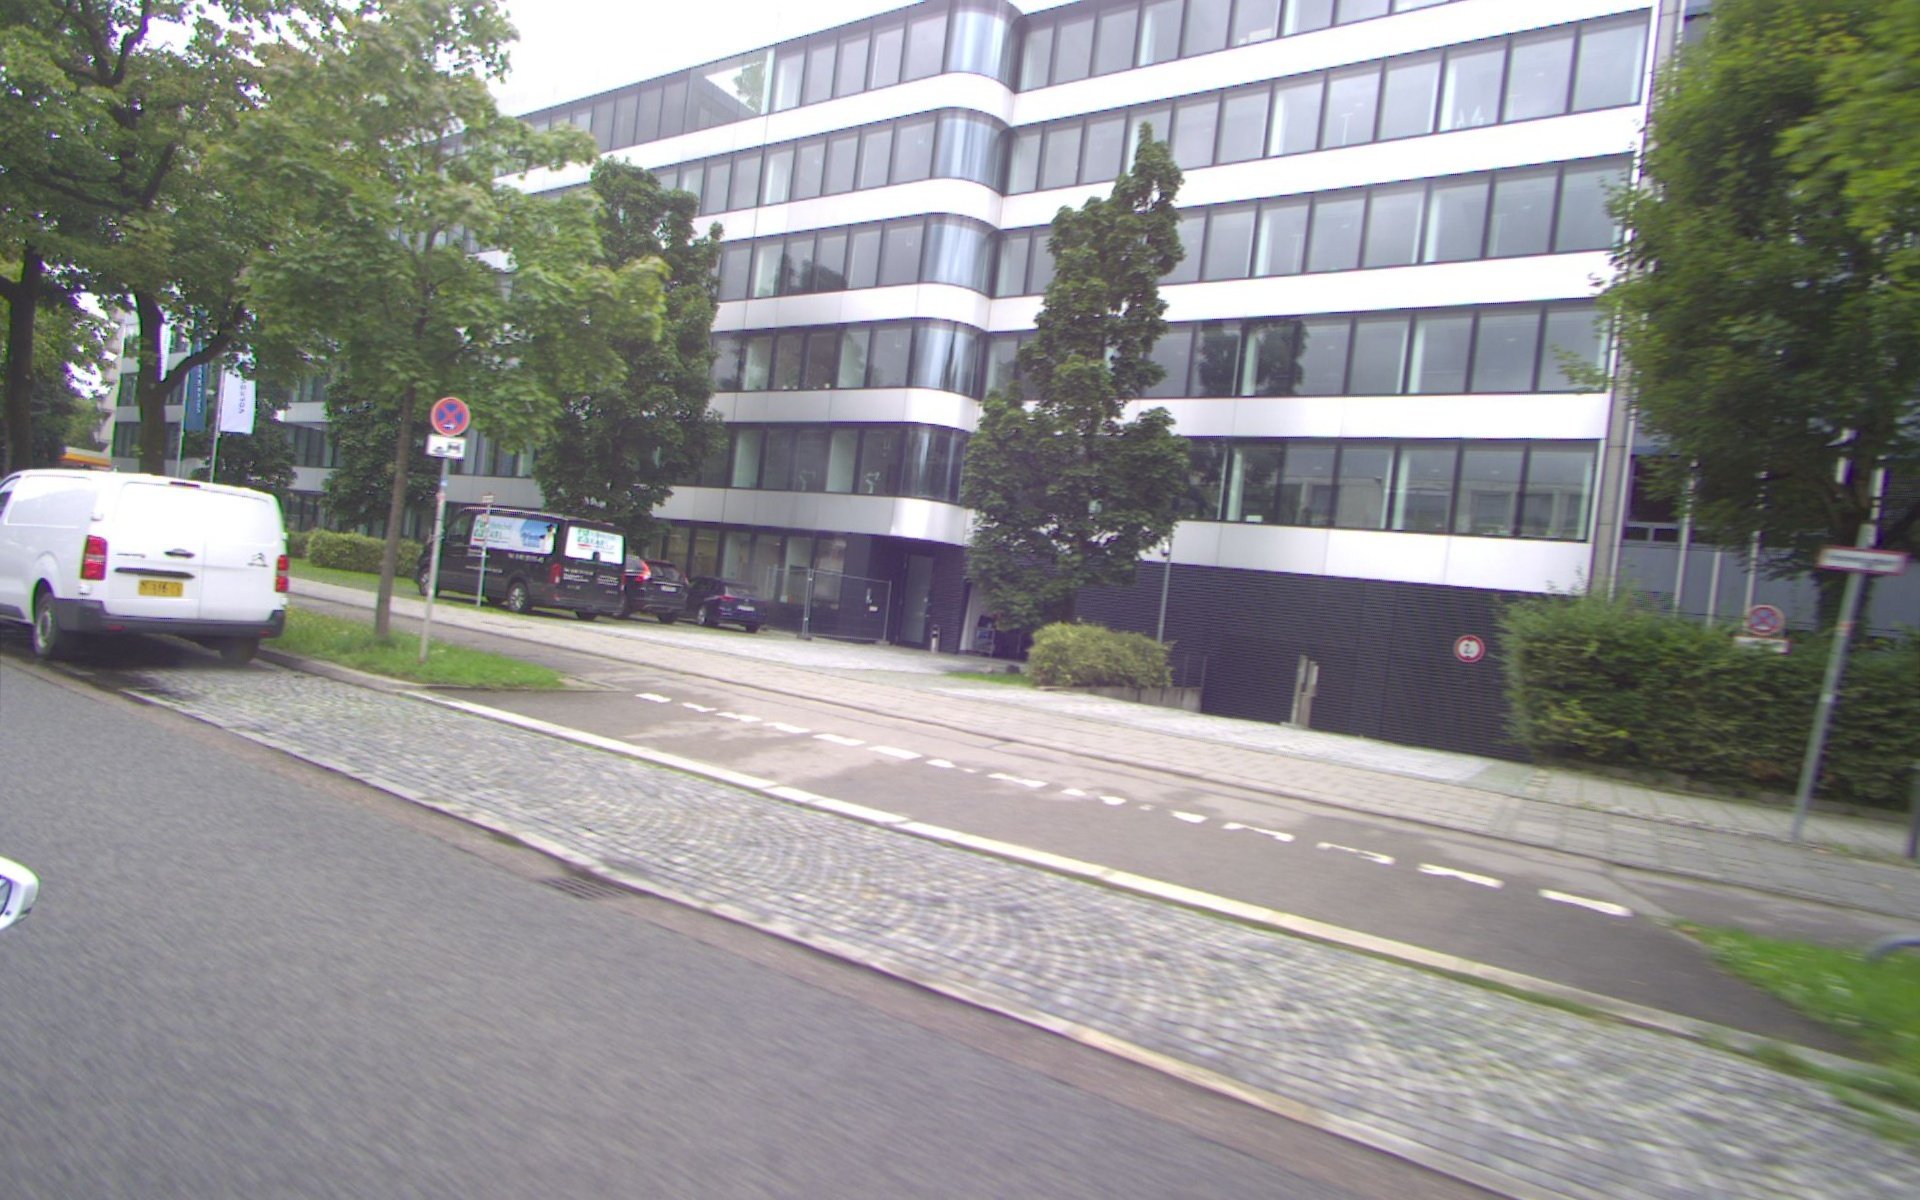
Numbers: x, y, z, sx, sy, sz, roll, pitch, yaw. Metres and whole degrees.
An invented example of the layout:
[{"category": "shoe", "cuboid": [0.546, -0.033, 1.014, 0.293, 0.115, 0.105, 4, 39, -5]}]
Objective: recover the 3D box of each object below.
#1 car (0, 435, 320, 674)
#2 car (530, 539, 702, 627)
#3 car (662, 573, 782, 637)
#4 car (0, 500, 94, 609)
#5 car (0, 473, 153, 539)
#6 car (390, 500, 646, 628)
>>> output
[{"category": "car", "cuboid": [-9.854, -0.610, 11.603, 5.465, 2.185, 1.988, 7, 1, 33]}, {"category": "car", "cuboid": [-9.255, -0.475, 26.974, 4.397, 1.841, 1.844, 7, 1, 31]}, {"category": "car", "cuboid": [-6.997, 0.113, 29.277, 1.775, 1.390, 3.922, 8, -1, -39]}, {"category": "car", "cuboid": [-14.965, -0.827, 15.204, 4.164, 1.415, 1.702, 7, 1, 33]}, {"category": "car", "cuboid": [-39.451, -4.147, 44.403, 2.111, 2.109, 5.476, 7, 0, 32]}, {"category": "car", "cuboid": [-10.547, -0.895, 23.812, 6.163, 2.336, 2.267, 7, 1, 31]}]
